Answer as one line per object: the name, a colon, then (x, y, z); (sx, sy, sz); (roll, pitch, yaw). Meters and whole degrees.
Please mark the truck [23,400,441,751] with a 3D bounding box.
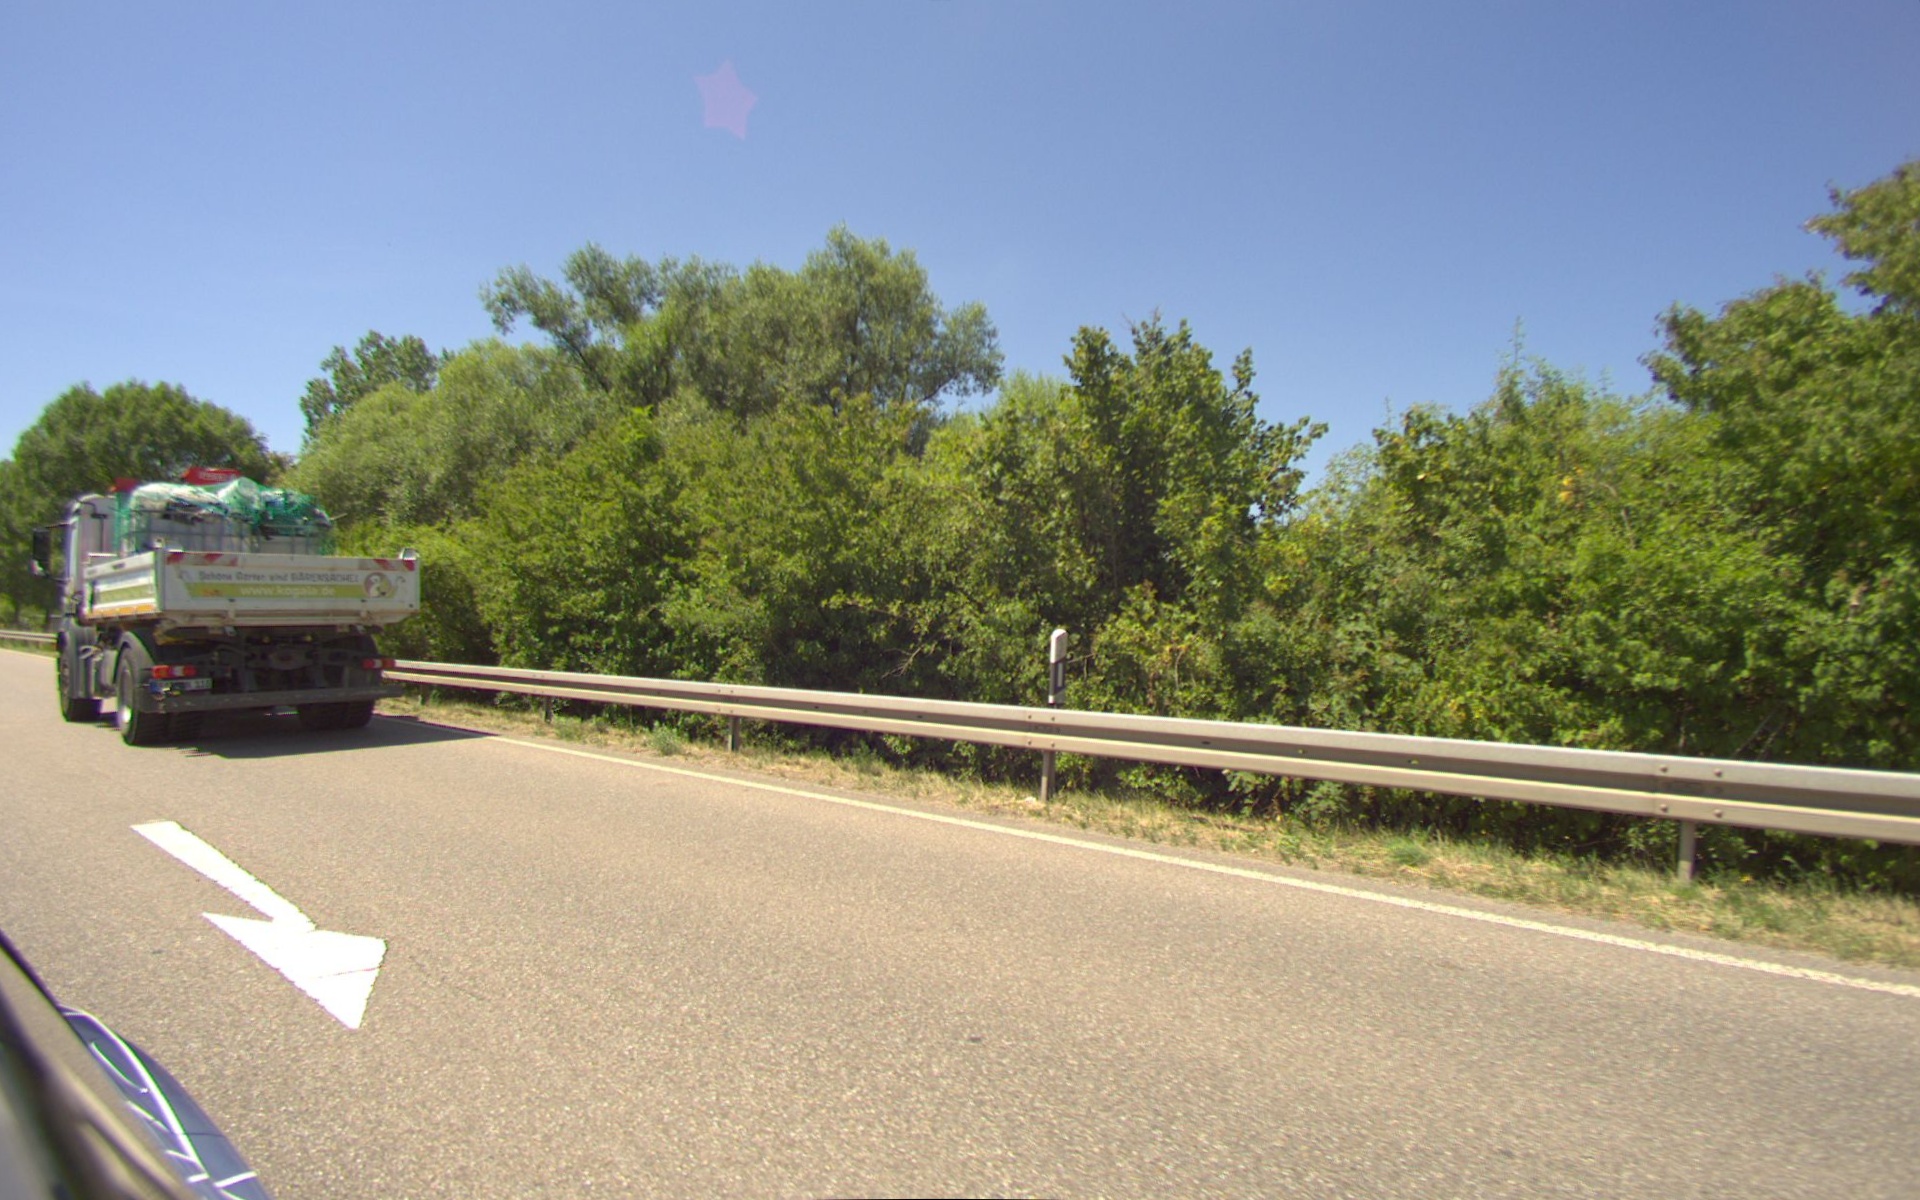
truck: (-10.083, -0.199, 13.558); (7.984, 3.431, 2.755); (-1, 0, 41)
